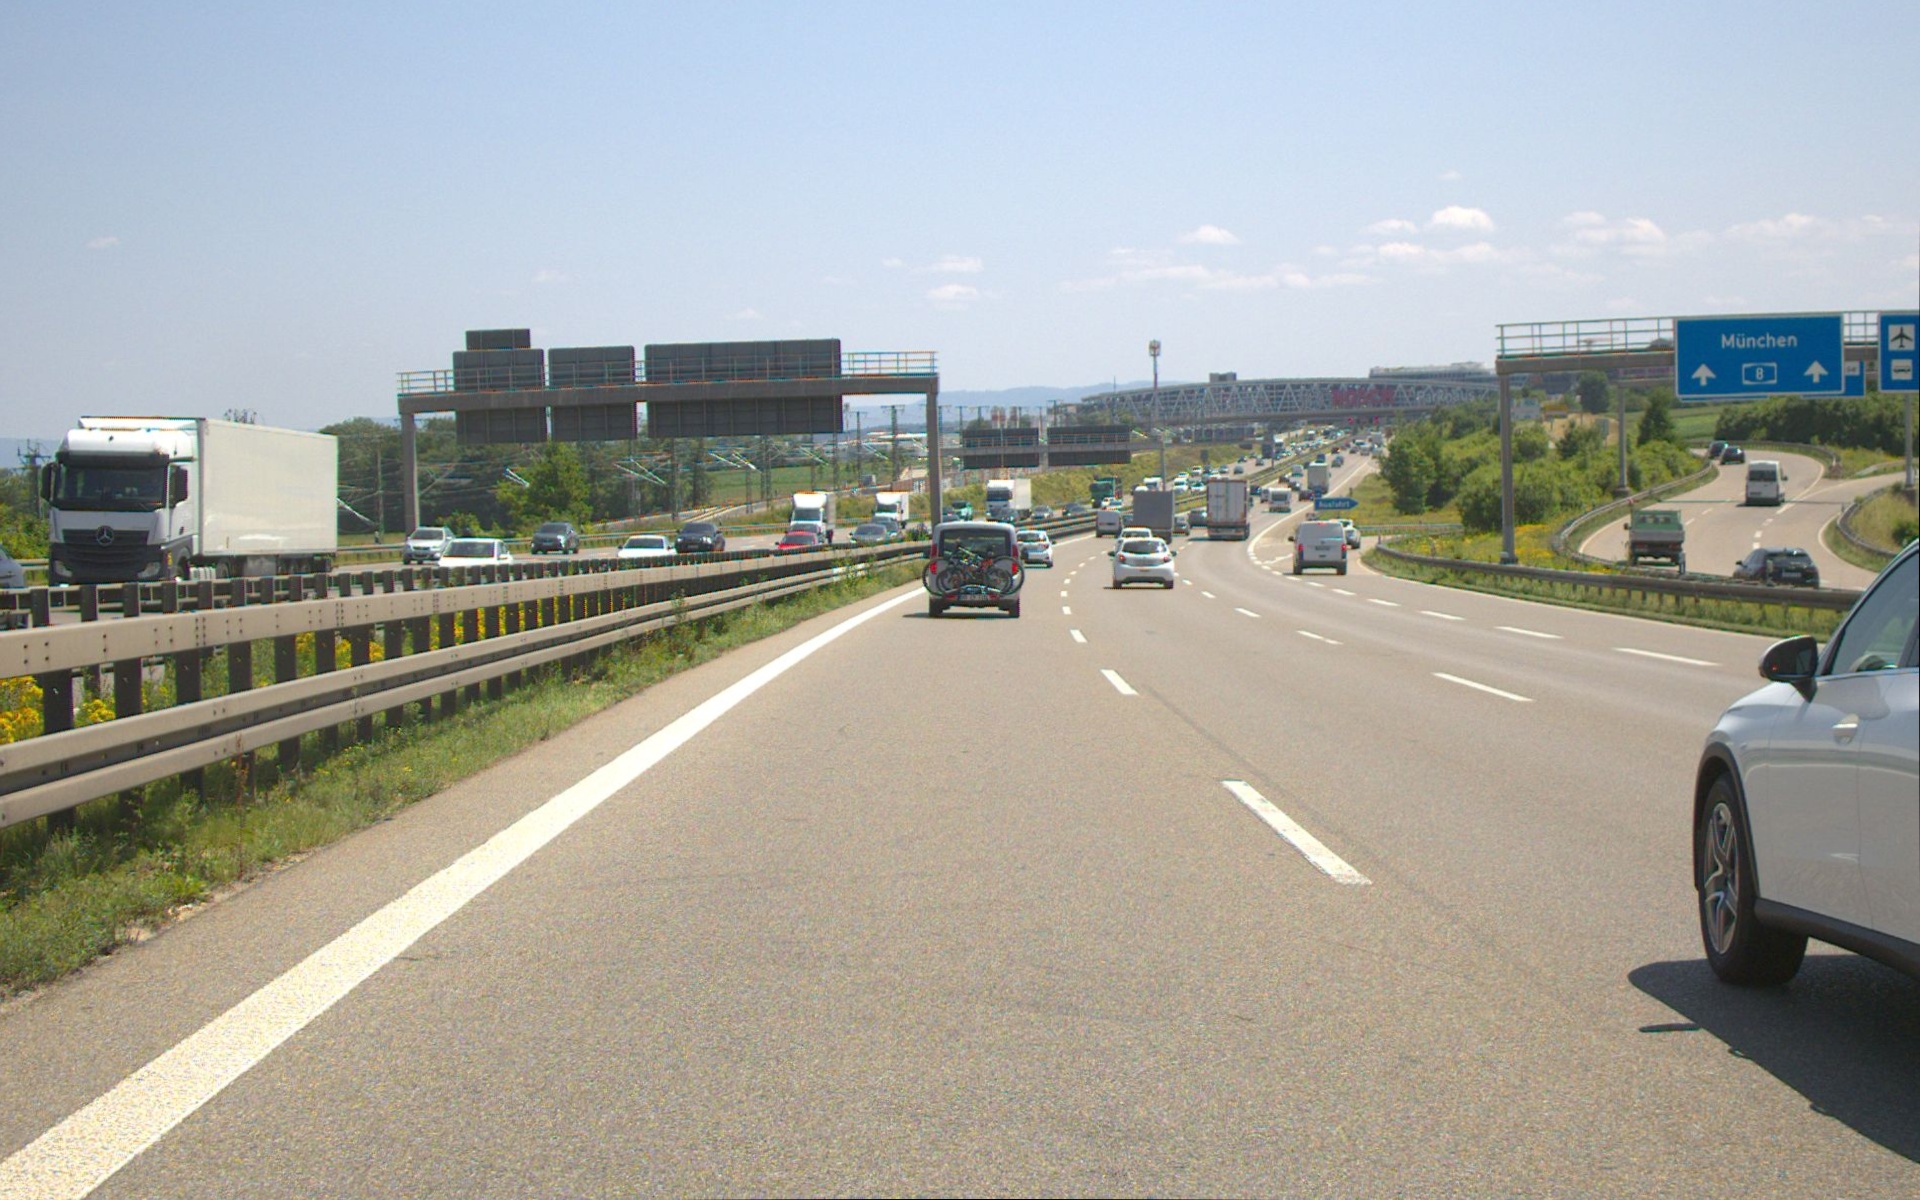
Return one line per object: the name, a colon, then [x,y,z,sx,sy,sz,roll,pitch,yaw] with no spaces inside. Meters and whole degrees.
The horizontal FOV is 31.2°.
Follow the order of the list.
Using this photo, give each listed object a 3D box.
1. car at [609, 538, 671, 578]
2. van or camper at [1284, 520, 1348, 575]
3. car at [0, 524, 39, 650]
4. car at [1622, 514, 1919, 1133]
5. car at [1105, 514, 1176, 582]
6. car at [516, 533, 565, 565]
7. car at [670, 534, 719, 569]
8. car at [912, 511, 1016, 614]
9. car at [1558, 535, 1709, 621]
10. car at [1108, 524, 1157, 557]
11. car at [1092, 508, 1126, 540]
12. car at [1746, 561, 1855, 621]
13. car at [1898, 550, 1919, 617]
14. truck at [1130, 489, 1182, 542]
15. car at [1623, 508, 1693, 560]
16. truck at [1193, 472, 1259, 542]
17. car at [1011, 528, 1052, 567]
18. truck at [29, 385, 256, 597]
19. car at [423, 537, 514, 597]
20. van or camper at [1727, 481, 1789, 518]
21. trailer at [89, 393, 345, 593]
car: [-11.470,-1.511,123.371,1.657,1.398,4.759,1,1,1]
van or camper: [13.261,-1.967,128.287,2.156,2.007,4.304,0,1,3]
car: [-13.530,-0.170,44.397,1.993,1.639,4.664,1,1,0]
car: [3.478,0.582,10.370,1.898,1.641,4.999,0,1,-1]
car: [5.169,-1.491,98.843,1.927,1.912,4.517,0,1,2]
car: [-20.780,-2.530,170.427,1.847,1.526,4.223,1,1,1]
car: [-12.736,-2.356,165.315,1.847,1.650,4.910,1,1,1]
car: [0.095,-0.731,66.793,1.926,1.912,4.948,0,1,1]
car: [13.520,-0.455,69.248,1.993,1.684,4.001,0,1,-4]
car: [7.860,-2.711,156.334,1.982,1.468,3.999,0,1,6]
car: [10.247,-5.236,235.911,2.186,1.996,4.000,1,4,4]
car: [23.031,-0.263,94.371,1.993,1.590,4.000,0,1,0]
car: [28.544,-0.468,99.334,1.939,1.917,4.179,0,1,4]
truck: [12.155,-5.185,212.001,2.703,3.098,10.657,0,1,6]
car: [27.416,-2.584,135.179,1.993,2.007,4.000,0,1,1]
truck: [17.733,-6.241,228.539,4.040,4.247,11.756,0,3,6]
car: [2.890,-2.116,138.183,1.576,1.547,3.964,0,1,2]
truck: [-17.063,-2.243,72.218,3.035,4.226,6.685,1,1,1]
car: [-12.767,-0.878,89.484,1.741,1.483,4.008,1,1,0]
van or camper: [46.249,-5.818,199.335,2.529,2.007,4.461,0,1,0]
trailer: [-16.938,-2.397,79.442,3.035,4.226,12.248,1,1,1]
